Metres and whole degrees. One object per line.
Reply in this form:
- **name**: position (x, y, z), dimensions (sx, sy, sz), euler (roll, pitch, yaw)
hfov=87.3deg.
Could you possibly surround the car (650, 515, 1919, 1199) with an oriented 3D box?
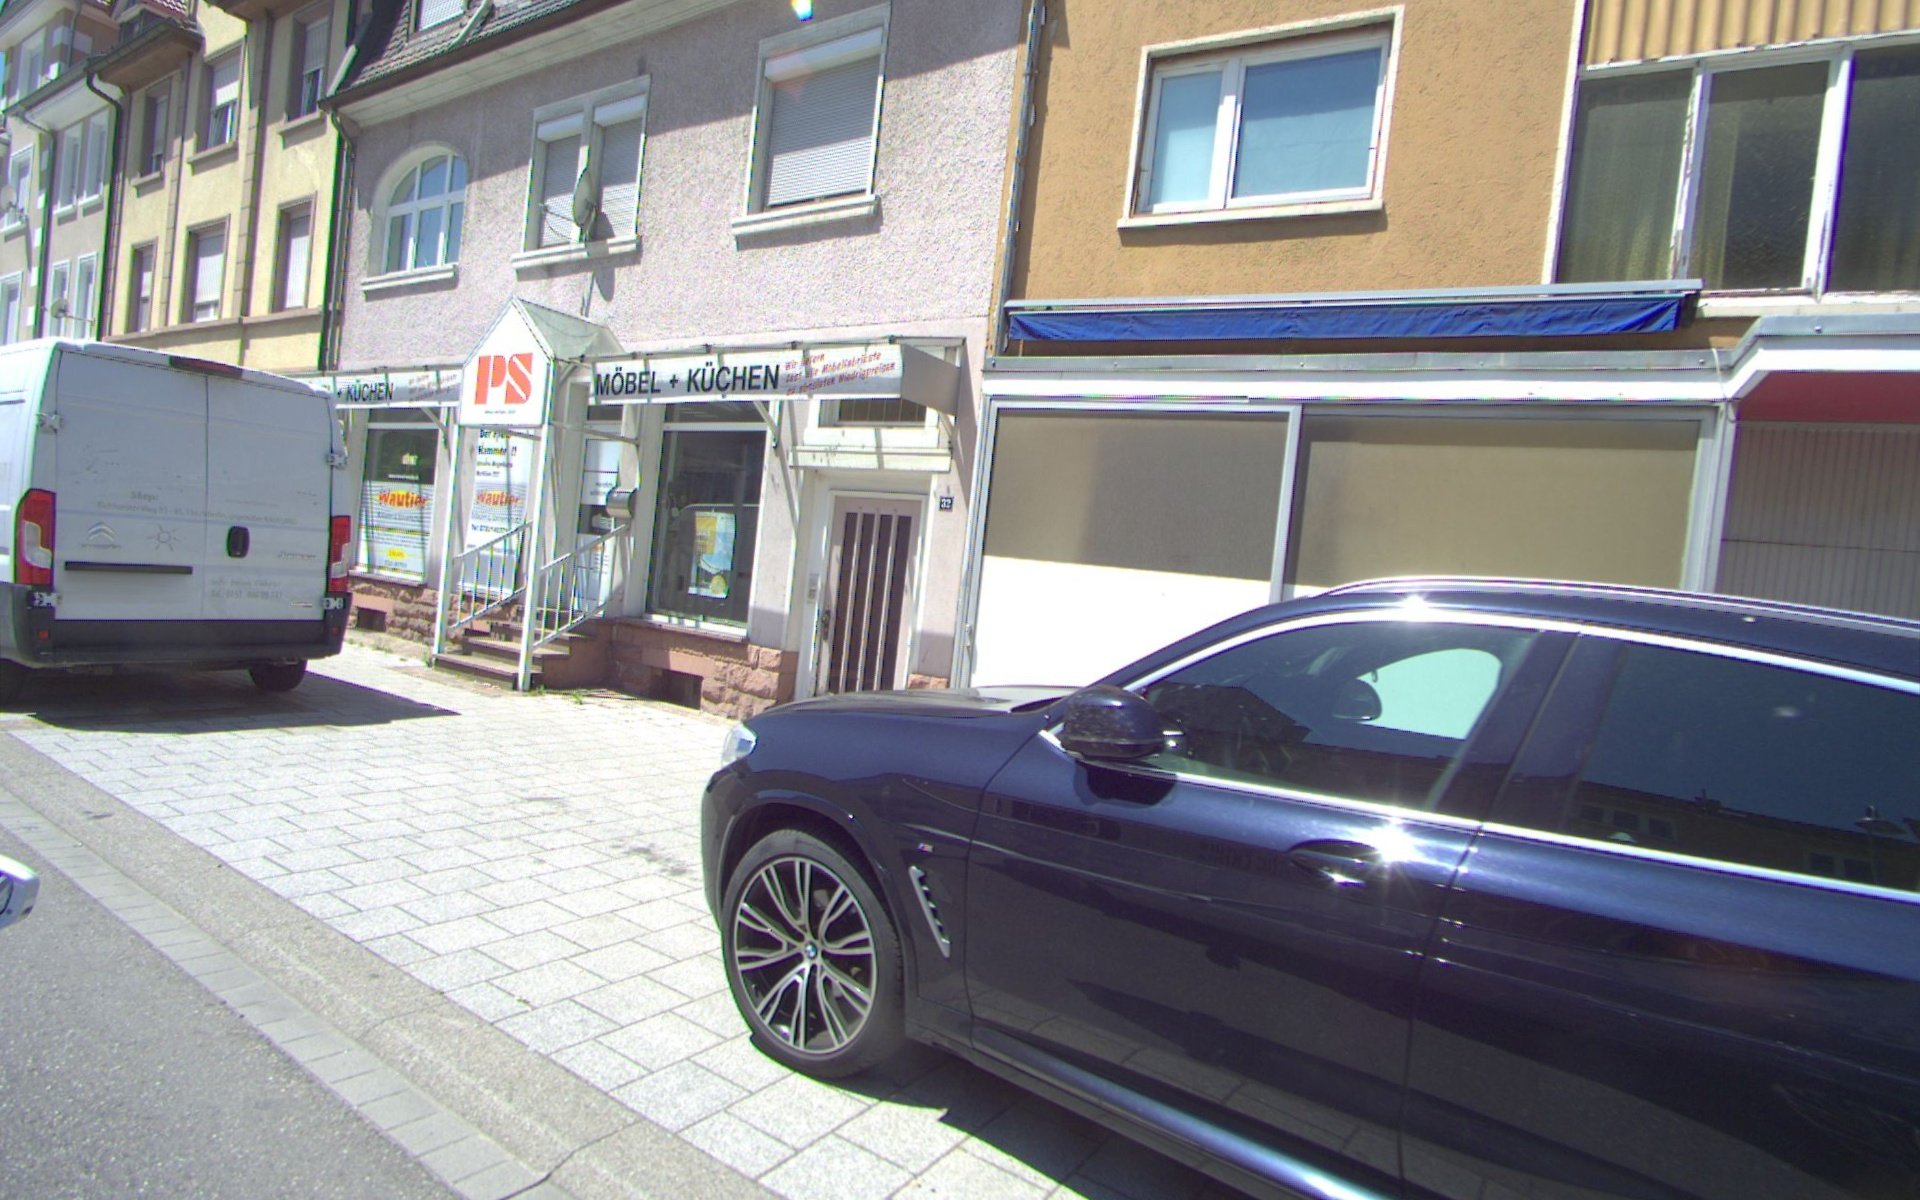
- **car**: position (1.279, 0.744, 2.699), dimensions (4.301, 1.629, 1.892), euler (6, 2, 39)

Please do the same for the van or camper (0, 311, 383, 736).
- **van or camper**: position (-7.658, -0.677, 8.612), dimensions (5.670, 2.623, 2.166), euler (6, 2, 32)
